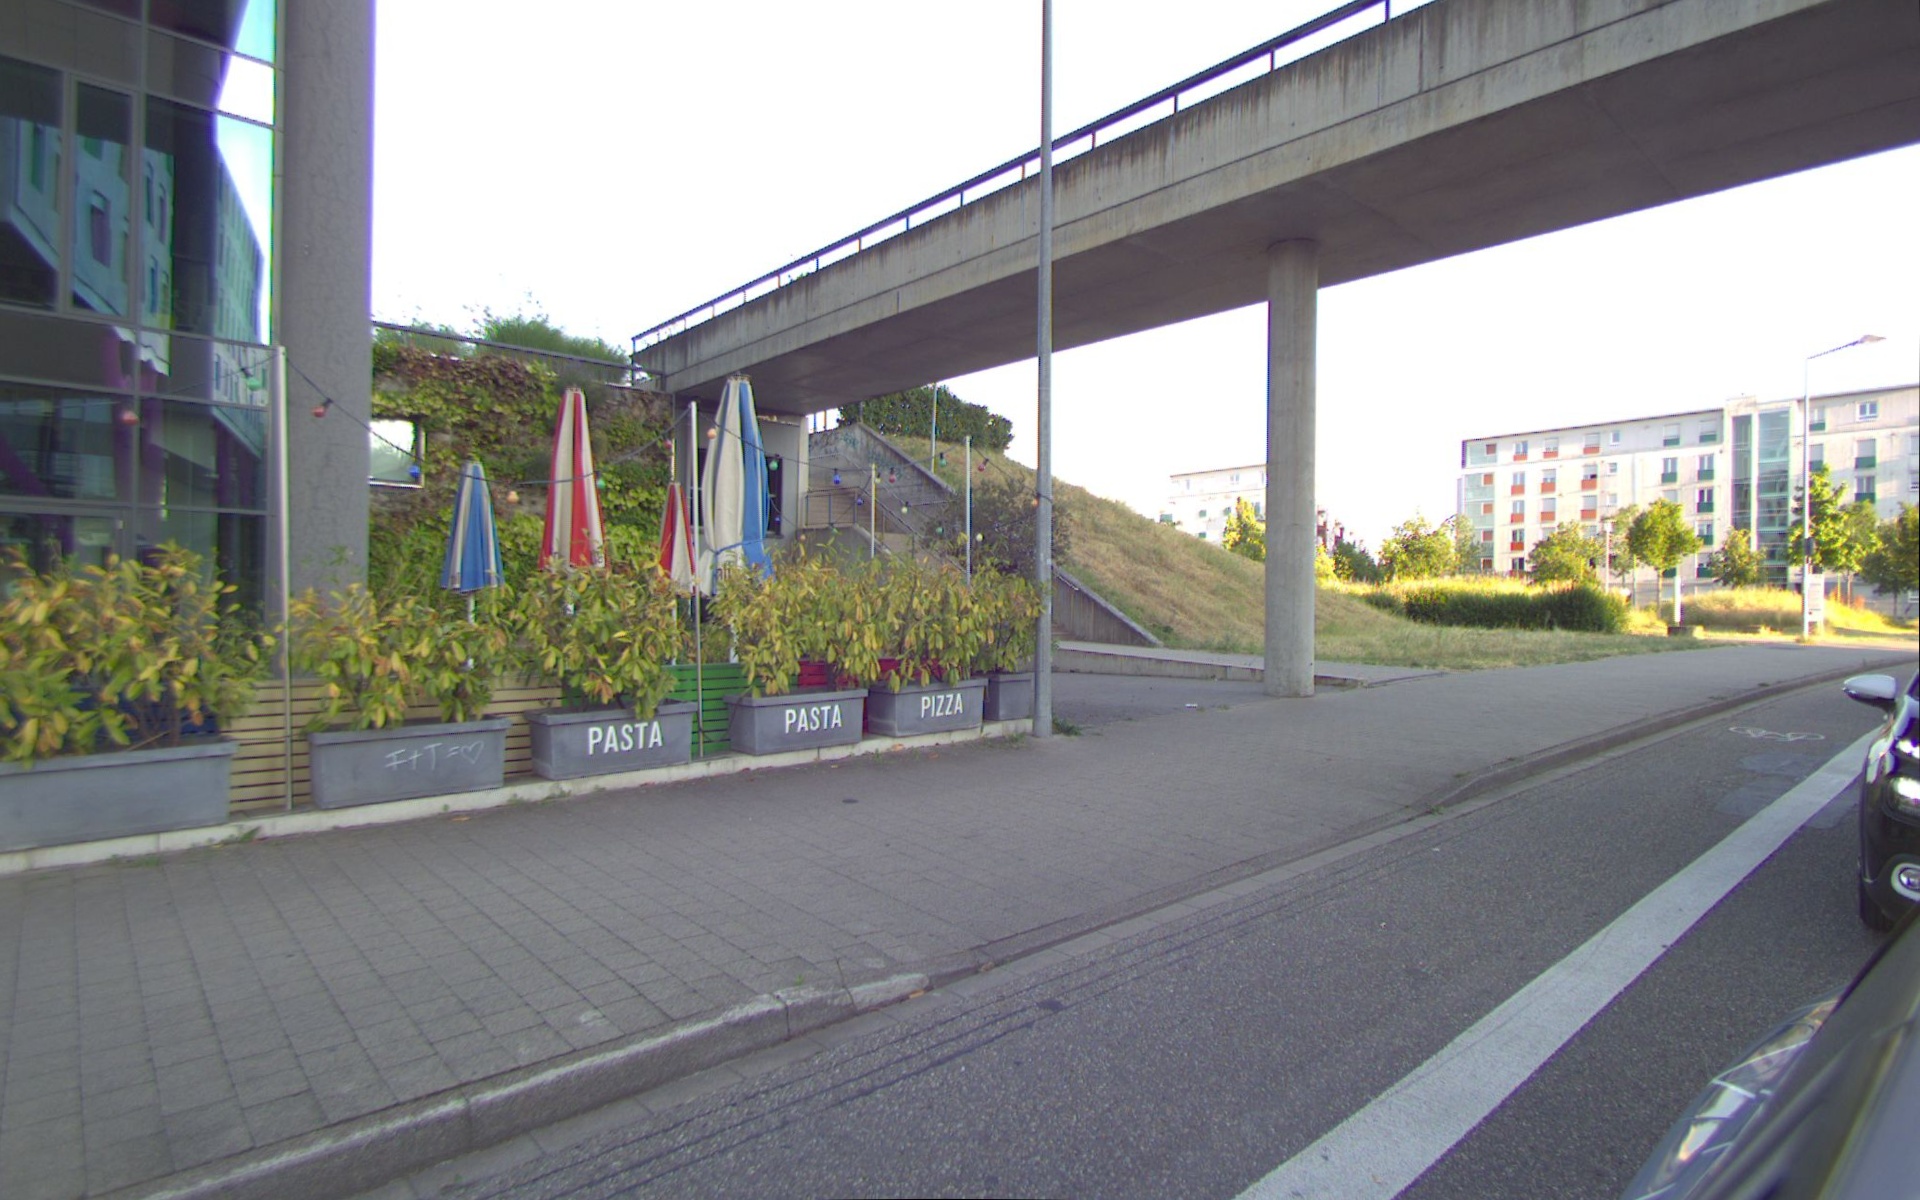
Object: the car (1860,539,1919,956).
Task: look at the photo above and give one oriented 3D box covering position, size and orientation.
[{"bbox_3d":[5.550,0.567,4.665,4.003,1.571,1.757,0,0,-43],"label":"car"}]
